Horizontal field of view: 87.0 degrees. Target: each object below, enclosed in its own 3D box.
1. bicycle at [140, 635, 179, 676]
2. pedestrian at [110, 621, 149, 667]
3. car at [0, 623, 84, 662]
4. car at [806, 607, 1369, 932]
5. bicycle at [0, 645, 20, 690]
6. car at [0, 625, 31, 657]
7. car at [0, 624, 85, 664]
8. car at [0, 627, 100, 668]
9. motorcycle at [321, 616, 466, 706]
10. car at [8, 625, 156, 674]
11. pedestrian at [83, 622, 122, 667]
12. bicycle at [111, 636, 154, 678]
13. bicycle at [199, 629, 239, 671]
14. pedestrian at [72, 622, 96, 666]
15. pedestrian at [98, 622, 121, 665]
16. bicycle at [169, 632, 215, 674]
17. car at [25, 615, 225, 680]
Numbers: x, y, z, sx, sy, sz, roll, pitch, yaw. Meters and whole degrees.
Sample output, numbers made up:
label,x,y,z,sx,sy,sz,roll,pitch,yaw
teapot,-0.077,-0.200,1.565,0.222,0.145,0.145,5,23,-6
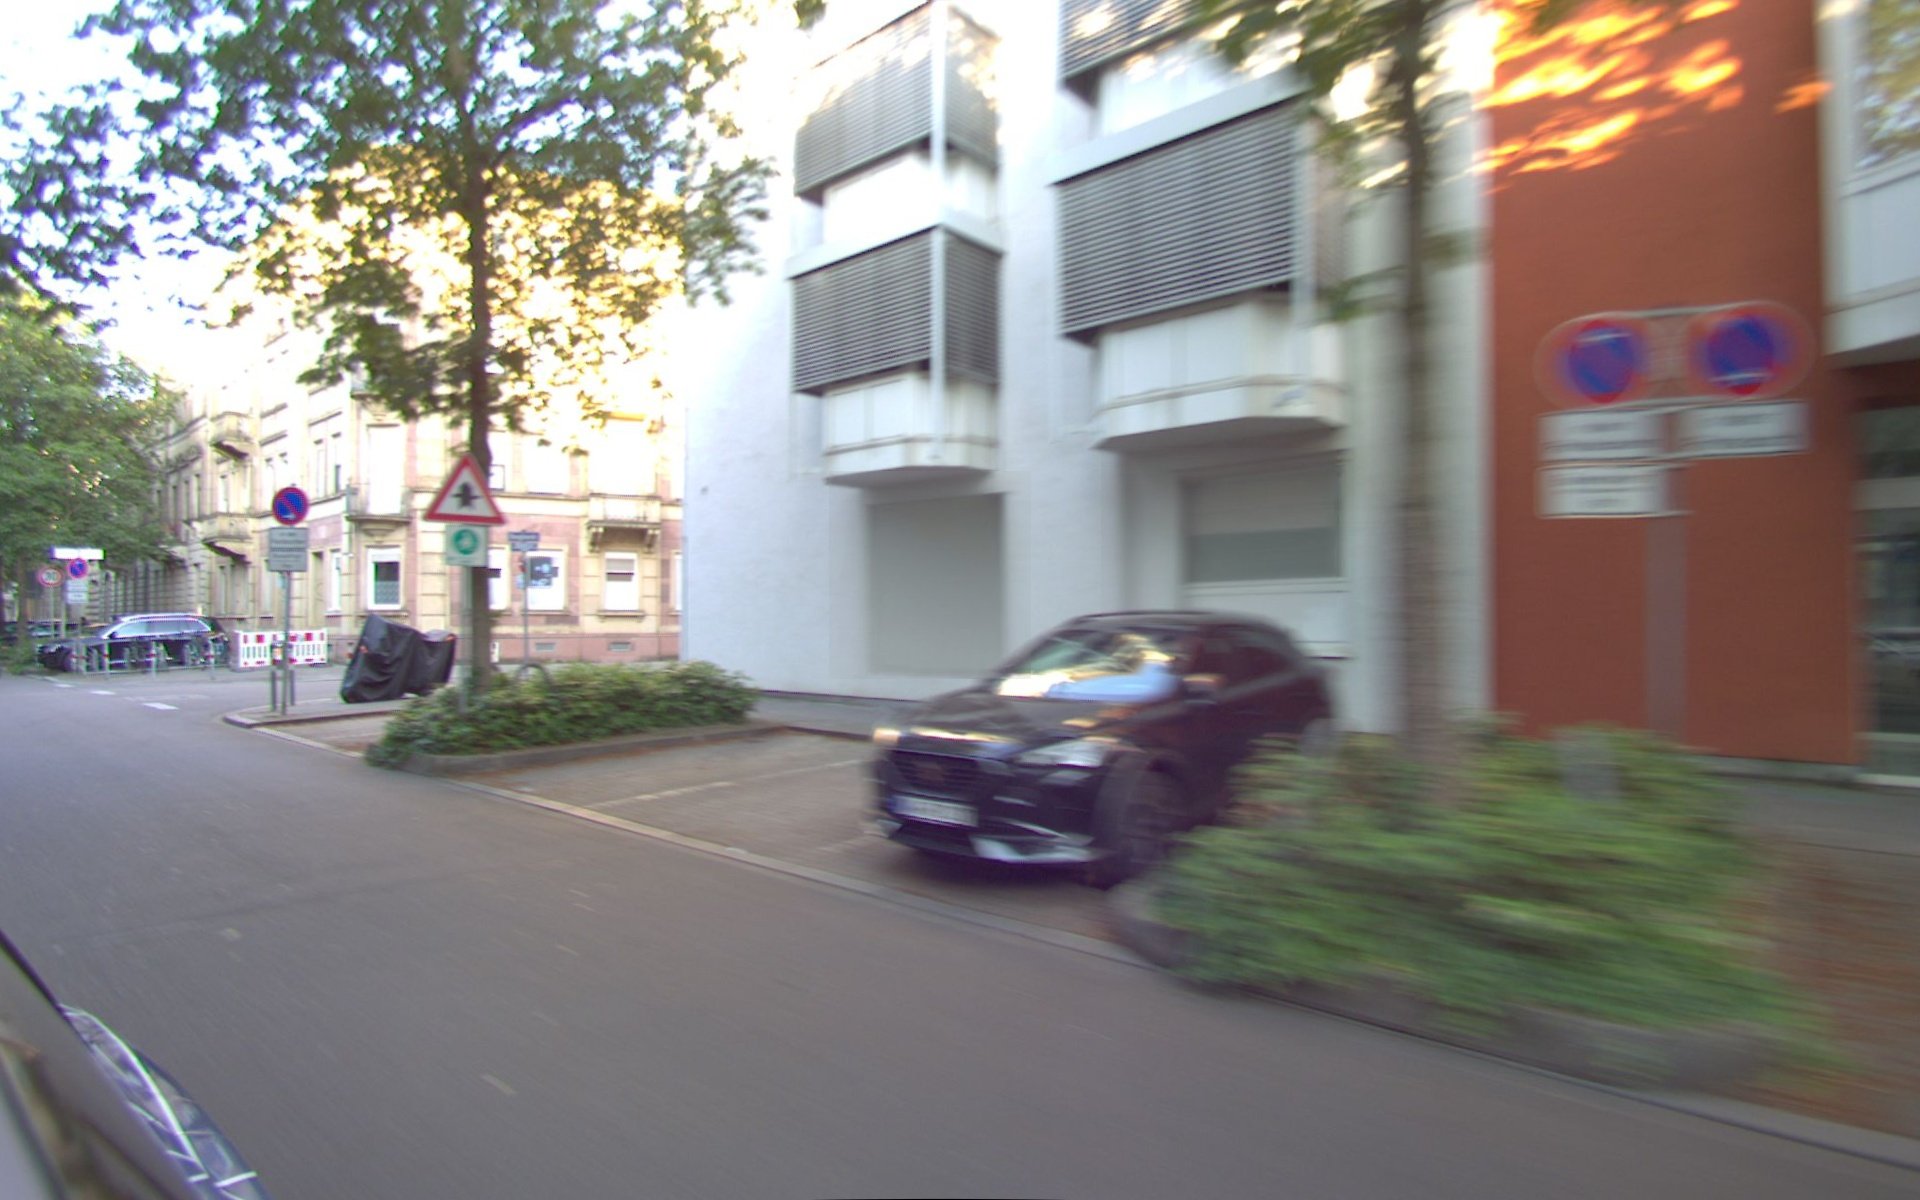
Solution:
label,x,y,z,sx,sy,sz,roll,pitch,yaw
bicycle,-22.507,1.550,28.442,1.861,1.026,0.517,0,3,42
pedestrian,-31.753,1.668,38.685,0.791,1.750,0.826,-1,-2,19
car,-44.501,2.028,48.352,1.713,1.684,3.762,-3,-1,40
car,1.133,0.827,6.966,1.928,1.497,4.085,-2,-1,40
bicycle,-23.335,1.615,23.808,1.952,1.038,0.673,-2,0,6
car,-52.463,2.303,54.098,1.780,1.608,3.925,-2,2,41
car,-42.884,2.036,46.219,1.907,1.684,4.157,-3,-1,41
car,-38.040,1.927,41.608,1.908,1.544,3.902,-1,-1,43
motorcycle,-10.089,1.056,18.126,0.854,1.493,2.199,-2,-2,23
car,-30.507,1.699,35.222,1.871,1.469,3.654,-3,-1,40
pedestrian,-32.645,1.675,38.525,0.791,1.683,0.826,-1,-2,19
bicycle,-22.882,1.558,27.963,1.860,1.067,0.517,0,2,39
bicycle,-21.637,1.437,29.546,1.861,1.116,0.511,0,3,42
pedestrian,-35.690,1.770,41.231,0.725,1.752,0.672,-1,-1,-42
pedestrian,-35.441,1.787,42.171,0.725,1.752,0.672,-1,-1,-42
bicycle,-22.005,1.488,28.981,1.861,1.070,0.661,0,3,42
car,-24.959,1.368,30.368,1.872,1.663,4.379,-3,-1,42
